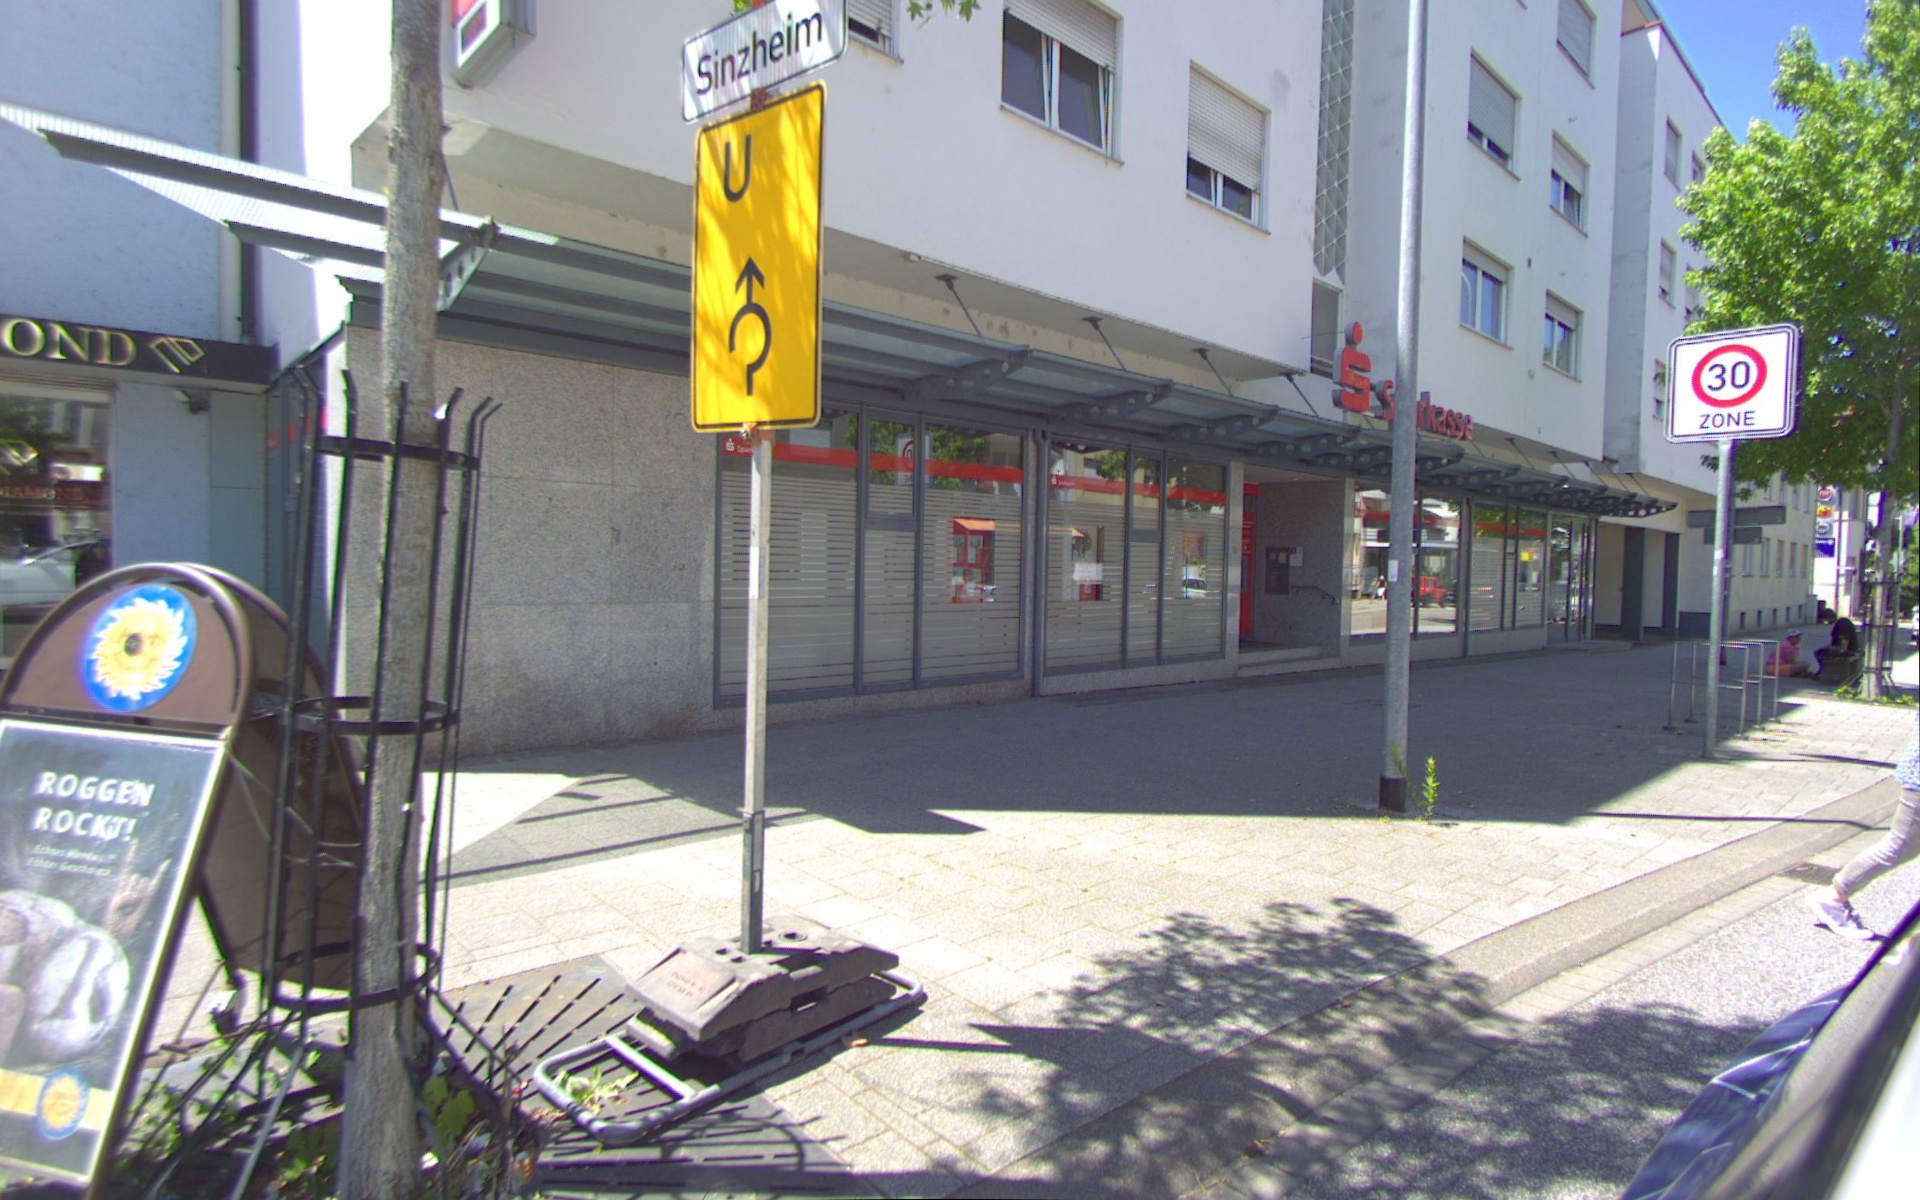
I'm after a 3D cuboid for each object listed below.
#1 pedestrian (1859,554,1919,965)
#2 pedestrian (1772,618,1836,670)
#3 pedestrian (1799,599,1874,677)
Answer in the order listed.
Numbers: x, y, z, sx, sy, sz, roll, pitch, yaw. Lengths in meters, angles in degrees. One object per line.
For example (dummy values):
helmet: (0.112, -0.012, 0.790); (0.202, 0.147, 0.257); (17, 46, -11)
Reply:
pedestrian: (4.159, 0.643, 4.033); (0.549, 1.629, 0.734); (0, 2, -41)
pedestrian: (15.056, 0.773, 18.060); (0.527, 0.862, 0.681); (0, 3, -28)
pedestrian: (14.782, 0.625, 17.081); (0.527, 1.255, 0.764); (1, 2, -28)
